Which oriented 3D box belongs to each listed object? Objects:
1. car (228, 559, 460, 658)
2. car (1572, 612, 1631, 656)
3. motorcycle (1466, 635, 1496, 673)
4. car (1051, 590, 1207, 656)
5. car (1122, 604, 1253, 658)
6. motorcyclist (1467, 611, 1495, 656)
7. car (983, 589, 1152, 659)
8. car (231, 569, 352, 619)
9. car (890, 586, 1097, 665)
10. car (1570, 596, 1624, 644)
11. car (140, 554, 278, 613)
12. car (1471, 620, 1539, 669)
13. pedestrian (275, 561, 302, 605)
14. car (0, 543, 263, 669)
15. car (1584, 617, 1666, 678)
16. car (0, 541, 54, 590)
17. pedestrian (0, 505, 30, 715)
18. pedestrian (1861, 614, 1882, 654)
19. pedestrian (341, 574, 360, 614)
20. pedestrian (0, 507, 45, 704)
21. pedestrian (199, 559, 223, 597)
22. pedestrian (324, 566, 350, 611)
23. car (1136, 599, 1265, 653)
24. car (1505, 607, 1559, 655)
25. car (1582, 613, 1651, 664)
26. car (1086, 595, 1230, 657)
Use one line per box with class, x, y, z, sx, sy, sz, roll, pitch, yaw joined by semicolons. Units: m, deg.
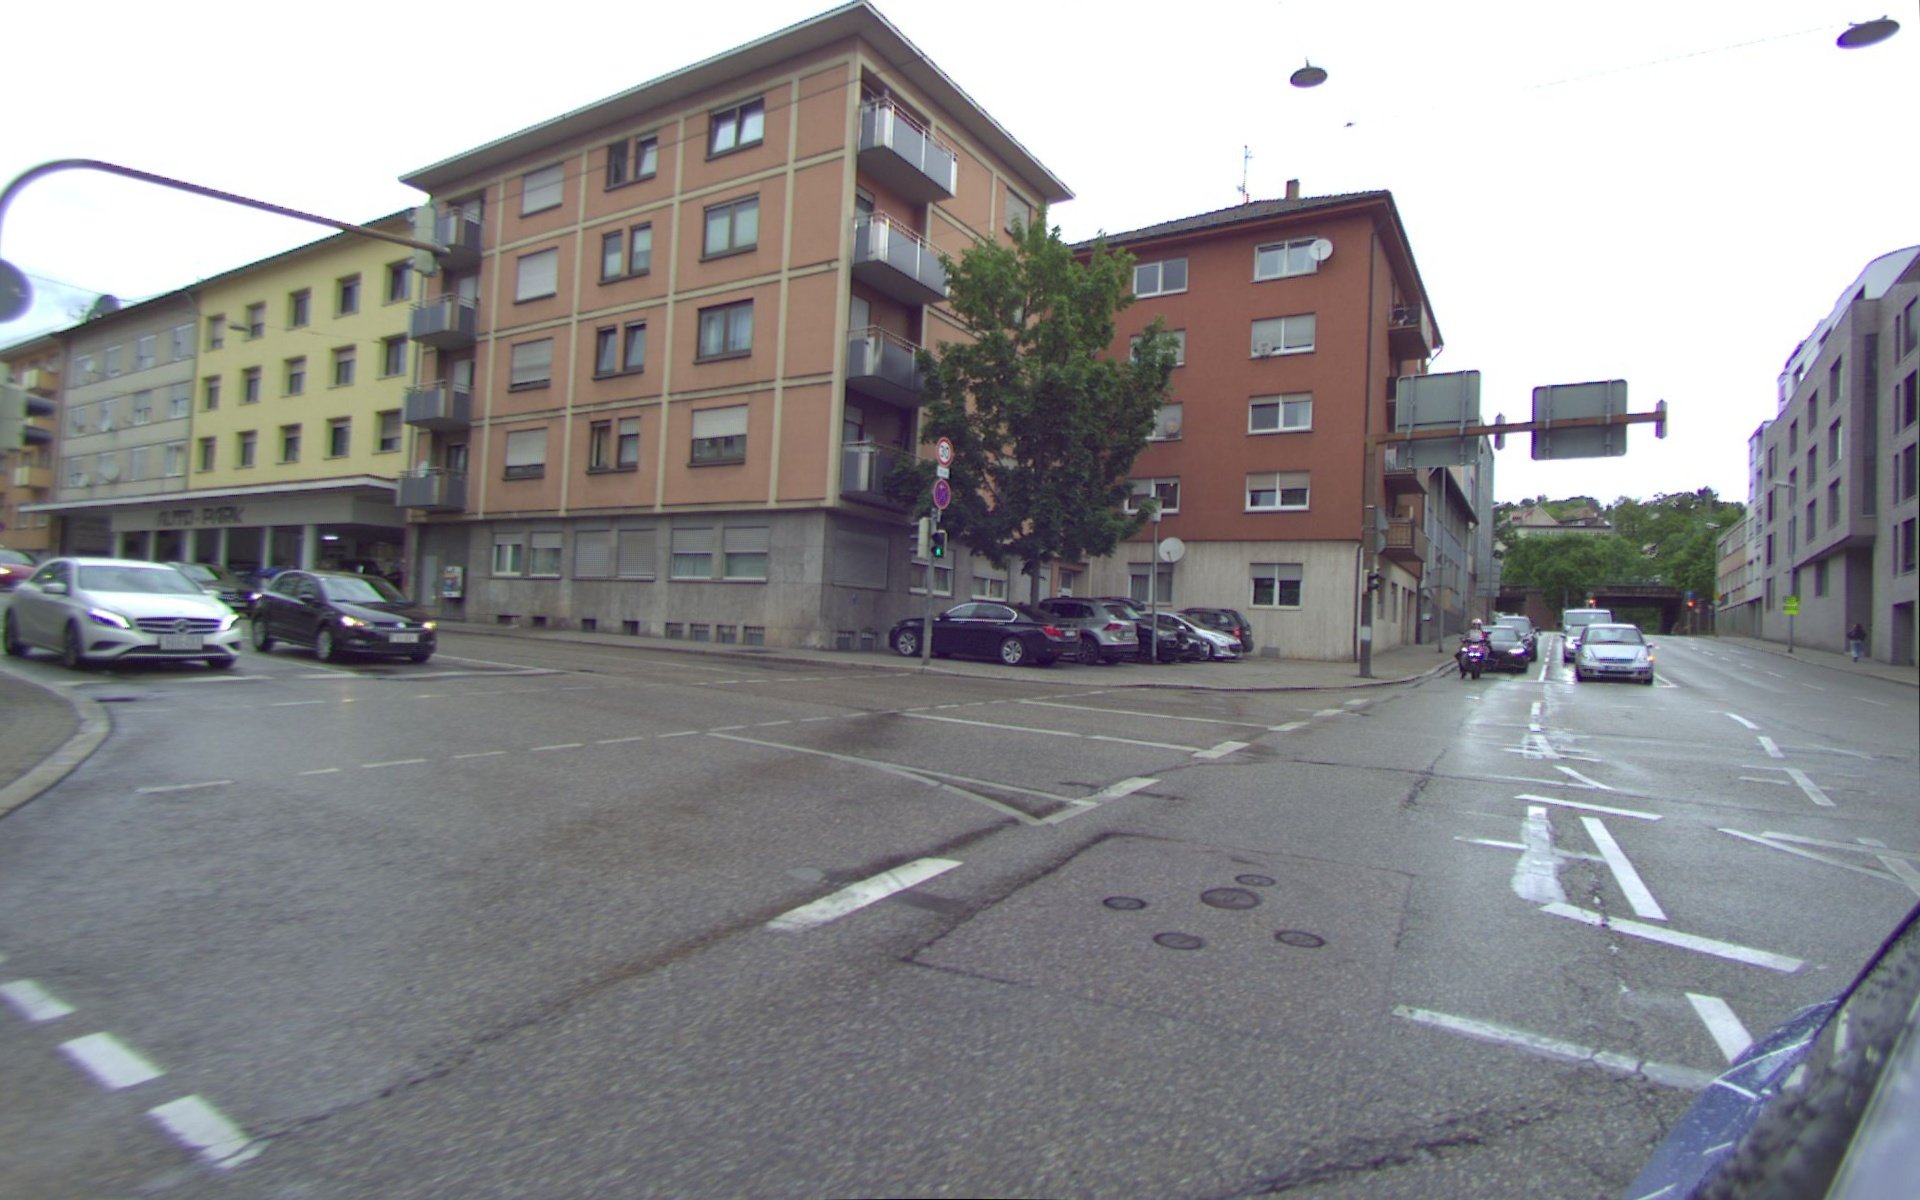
car;-10.489;0.116;17.180;3.971;1.508;1.828;1;-1;33
car;24.672;1.278;38.927;1.836;1.574;3.952;0;-1;33
motorcycle;14.898;1.523;28.984;0.630;0.938;2.345;-1;0;24
car;4.749;0.625;28.745;3.987;1.741;1.961;0;-1;44
car;7.343;1.036;32.897;1.644;1.603;3.994;5;-4;-39
motorcyclist;14.801;0.936;28.766;0.647;1.239;0.652;1;0;25
car;2.802;0.590;26.689;3.972;1.682;1.968;1;-1;34
car;-21.214;-0.192;32.076;4.041;1.438;1.647;2;0;32
car;0.750;0.568;24.484;4.764;1.574;1.827;3;0;35
car;28.318;0.934;44.940;1.929;1.941;4.795;-1;-3;33
car;-21.109;-0.437;28.400;3.971;1.508;1.828;0;-2;33
car;17.770;1.391;33.106;1.858;1.460;3.961;0;-1;27
pedestrian;-24.628;-0.625;37.124;0.565;1.538;0.515;4;-2;33
car;-11.648;0.057;14.091;3.971;1.532;1.828;1;-1;33
car;18.701;1.284;28.583;1.827;1.574;3.953;0;-1;32
car;-35.700;-1.270;37.763;3.972;1.695;1.827;0;-2;34
pedestrian;-7.969;0.051;7.812;0.744;1.668;0.710;5;-2;-4
pedestrian;39.303;1.459;43.636;0.531;1.723;0.499;0;-4;27
pedestrian;-22.279;-0.235;37.006;0.367;1.416;0.360;4;-2;33
pedestrian;-8.469;0.018;8.497;0.744;1.668;0.710;5;-2;-4
pedestrian;-31.868;-0.929;43.046;0.565;1.576;0.515;4;-2;33
pedestrian;-22.551;-0.416;36.650;0.554;1.586;0.475;4;-2;33
car;8.383;0.923;35.444;3.987;1.728;1.967;-2;-5;44
car;23.145;1.284;40.926;1.780;1.751;3.955;0;-4;30
car;22.155;1.258;34.267;1.835;1.574;3.955;0;-1;31
car;6.056;0.780;31.138;3.980;1.720;1.774;1;-3;39
